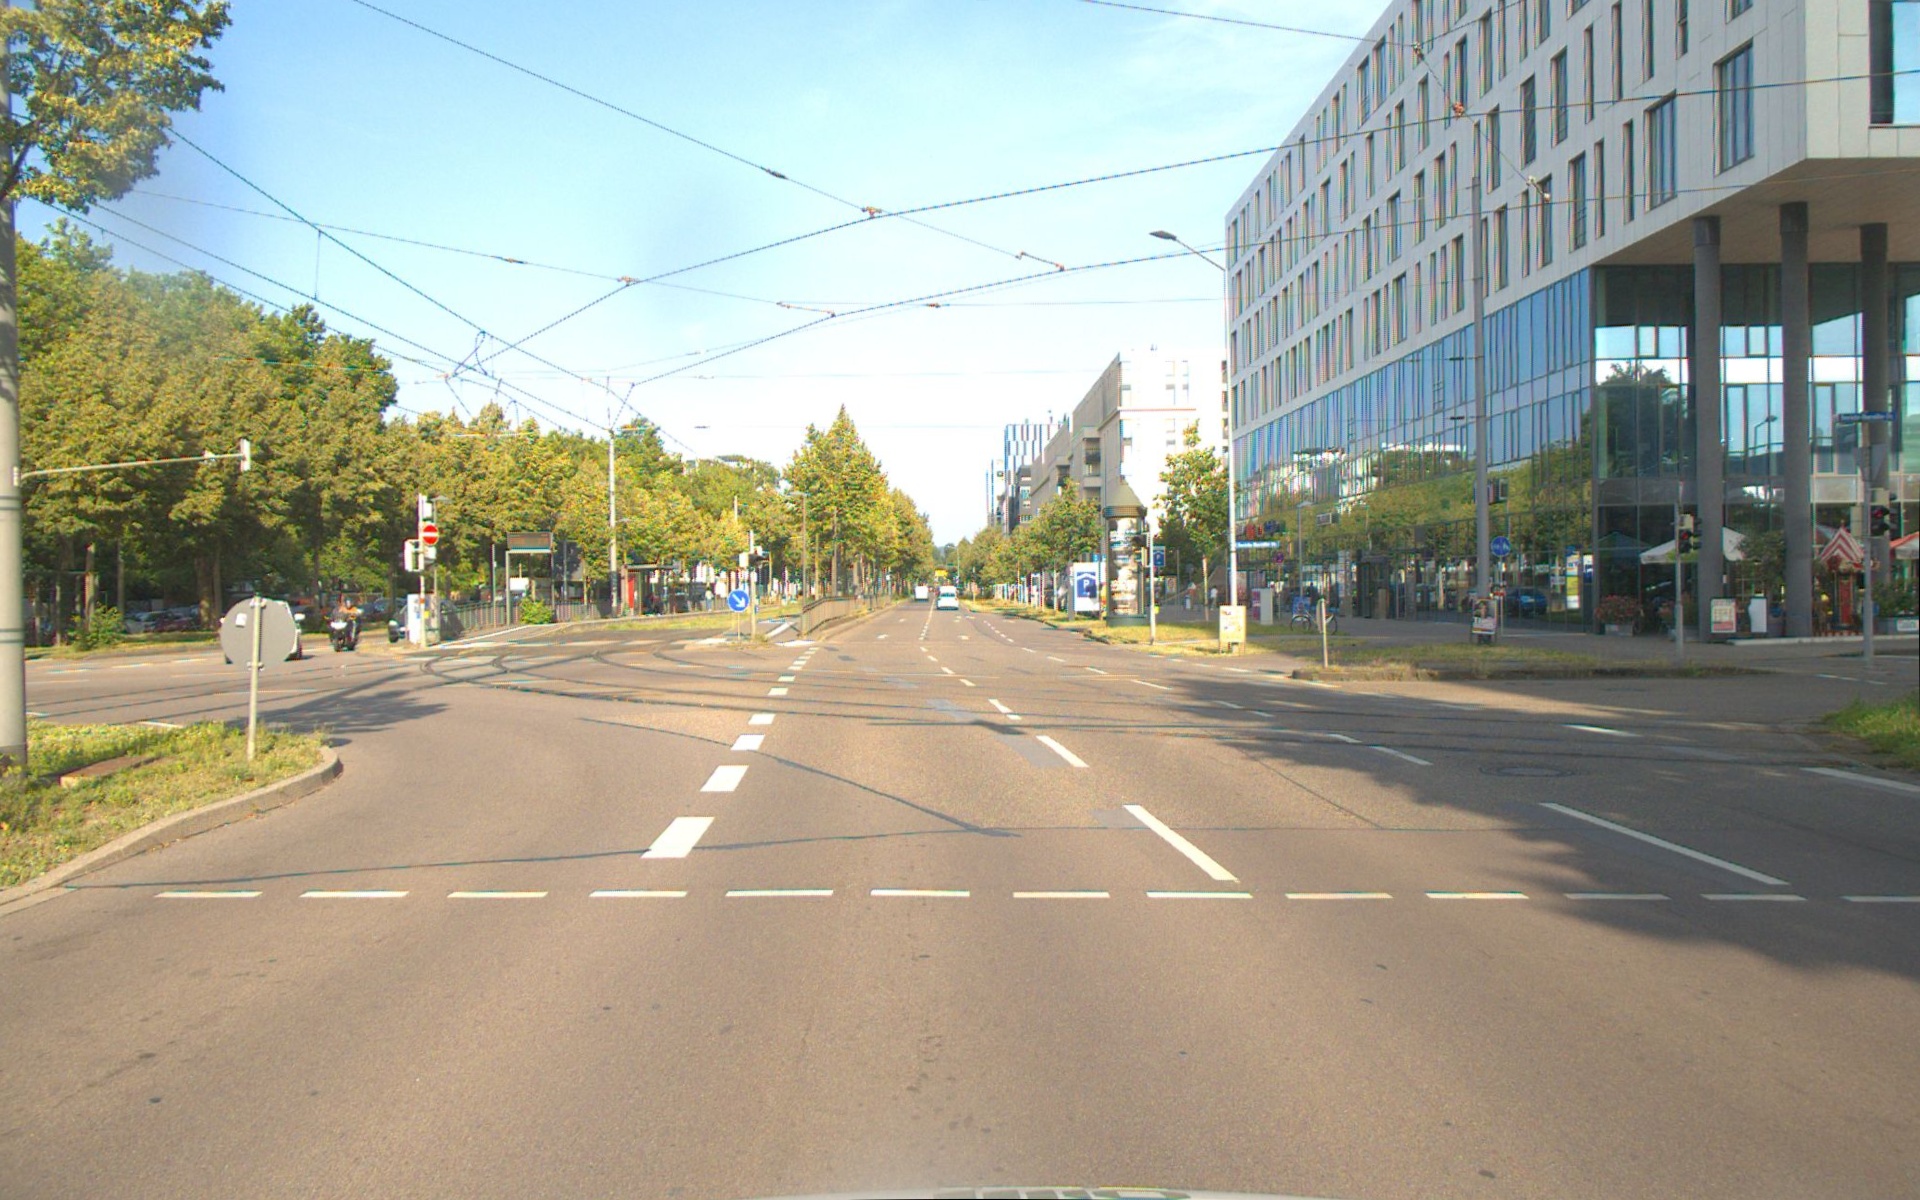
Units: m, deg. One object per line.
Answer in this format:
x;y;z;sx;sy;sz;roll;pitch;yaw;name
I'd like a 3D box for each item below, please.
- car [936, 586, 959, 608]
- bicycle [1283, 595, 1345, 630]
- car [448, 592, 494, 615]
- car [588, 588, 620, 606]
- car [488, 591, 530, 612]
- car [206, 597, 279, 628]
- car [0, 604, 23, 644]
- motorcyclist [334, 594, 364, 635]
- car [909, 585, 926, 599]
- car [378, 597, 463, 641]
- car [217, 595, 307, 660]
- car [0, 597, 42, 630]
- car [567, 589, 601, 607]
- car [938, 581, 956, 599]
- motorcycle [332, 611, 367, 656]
-1.010;-0.264;132.902;1.826;1.713;4.000;1;1;0;car
11.363;0.392;53.158;0.768;1.050;1.848;-1;3;-44;bicycle
-35.627;0.238;120.630;1.841;1.586;4.002;-1;0;4;car
-33.419;-0.284;155.432;1.841;1.586;4.002;-1;0;4;car
-35.044;0.125;128.561;1.841;1.586;4.002;-1;0;4;car
-38.134;0.645;88.006;1.841;1.586;4.002;-1;0;4;car
-39.338;0.966;65.595;1.841;1.586;4.002;-1;0;4;car
-18.427;0.435;49.914;0.769;1.224;0.844;1;1;-17;motorcyclist
-5.138;-0.983;200.906;1.973;1.713;4.000;1;1;0;car
-19.618;0.702;60.346;1.694;1.487;4.572;-2;-1;-2;car
-17.559;0.715;41.767;1.965;1.530;4.066;0;-2;-21;car
-46.667;0.653;80.227;1.841;1.586;4.002;-1;0;4;car
-33.861;-0.194;149.002;1.841;1.586;4.002;-1;0;4;car
-1.322;-1.025;167.323;1.826;1.713;4.000;1;1;0;car
-18.537;0.995;50.255;0.805;1.285;2.538;0;1;-16;motorcycle
